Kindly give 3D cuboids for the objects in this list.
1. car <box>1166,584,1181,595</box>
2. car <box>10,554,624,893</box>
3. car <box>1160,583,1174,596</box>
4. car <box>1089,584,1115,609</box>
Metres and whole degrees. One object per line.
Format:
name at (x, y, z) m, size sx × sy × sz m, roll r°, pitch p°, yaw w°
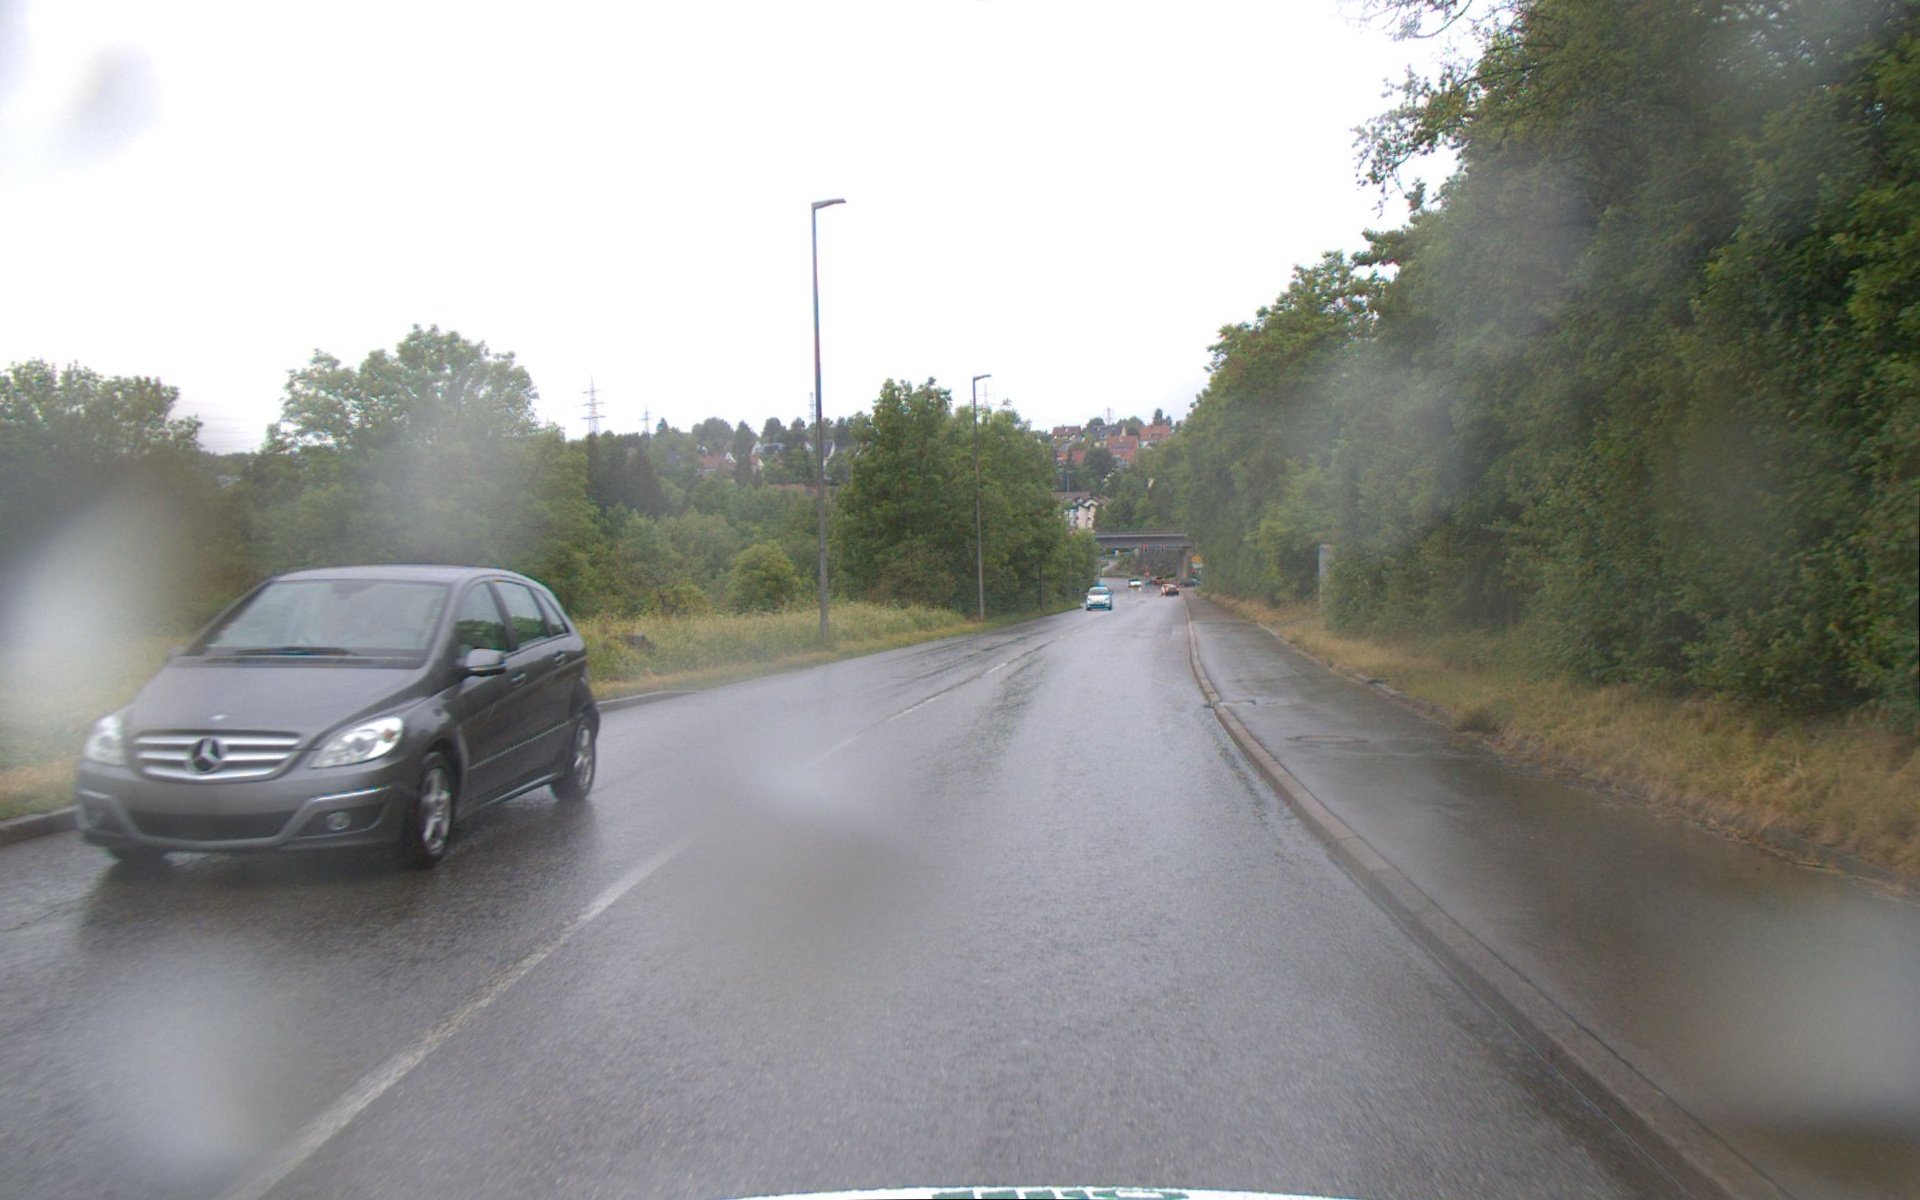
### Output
car at (28.003, -1.385, 216.818) m, size 1.730 × 1.404 × 4.003 m, roll -3°, pitch 0°, yaw 8°
car at (-3.483, 0.575, 9.960) m, size 1.825 × 1.579 × 4.268 m, roll 0°, pitch 0°, yaw 3°
car at (28.013, -1.446, 223.433) m, size 1.730 × 1.590 × 4.003 m, roll -3°, pitch 0°, yaw 8°
car at (9.250, -0.205, 107.928) m, size 1.605 × 1.514 × 3.456 m, roll -3°, pitch 0°, yaw 4°
